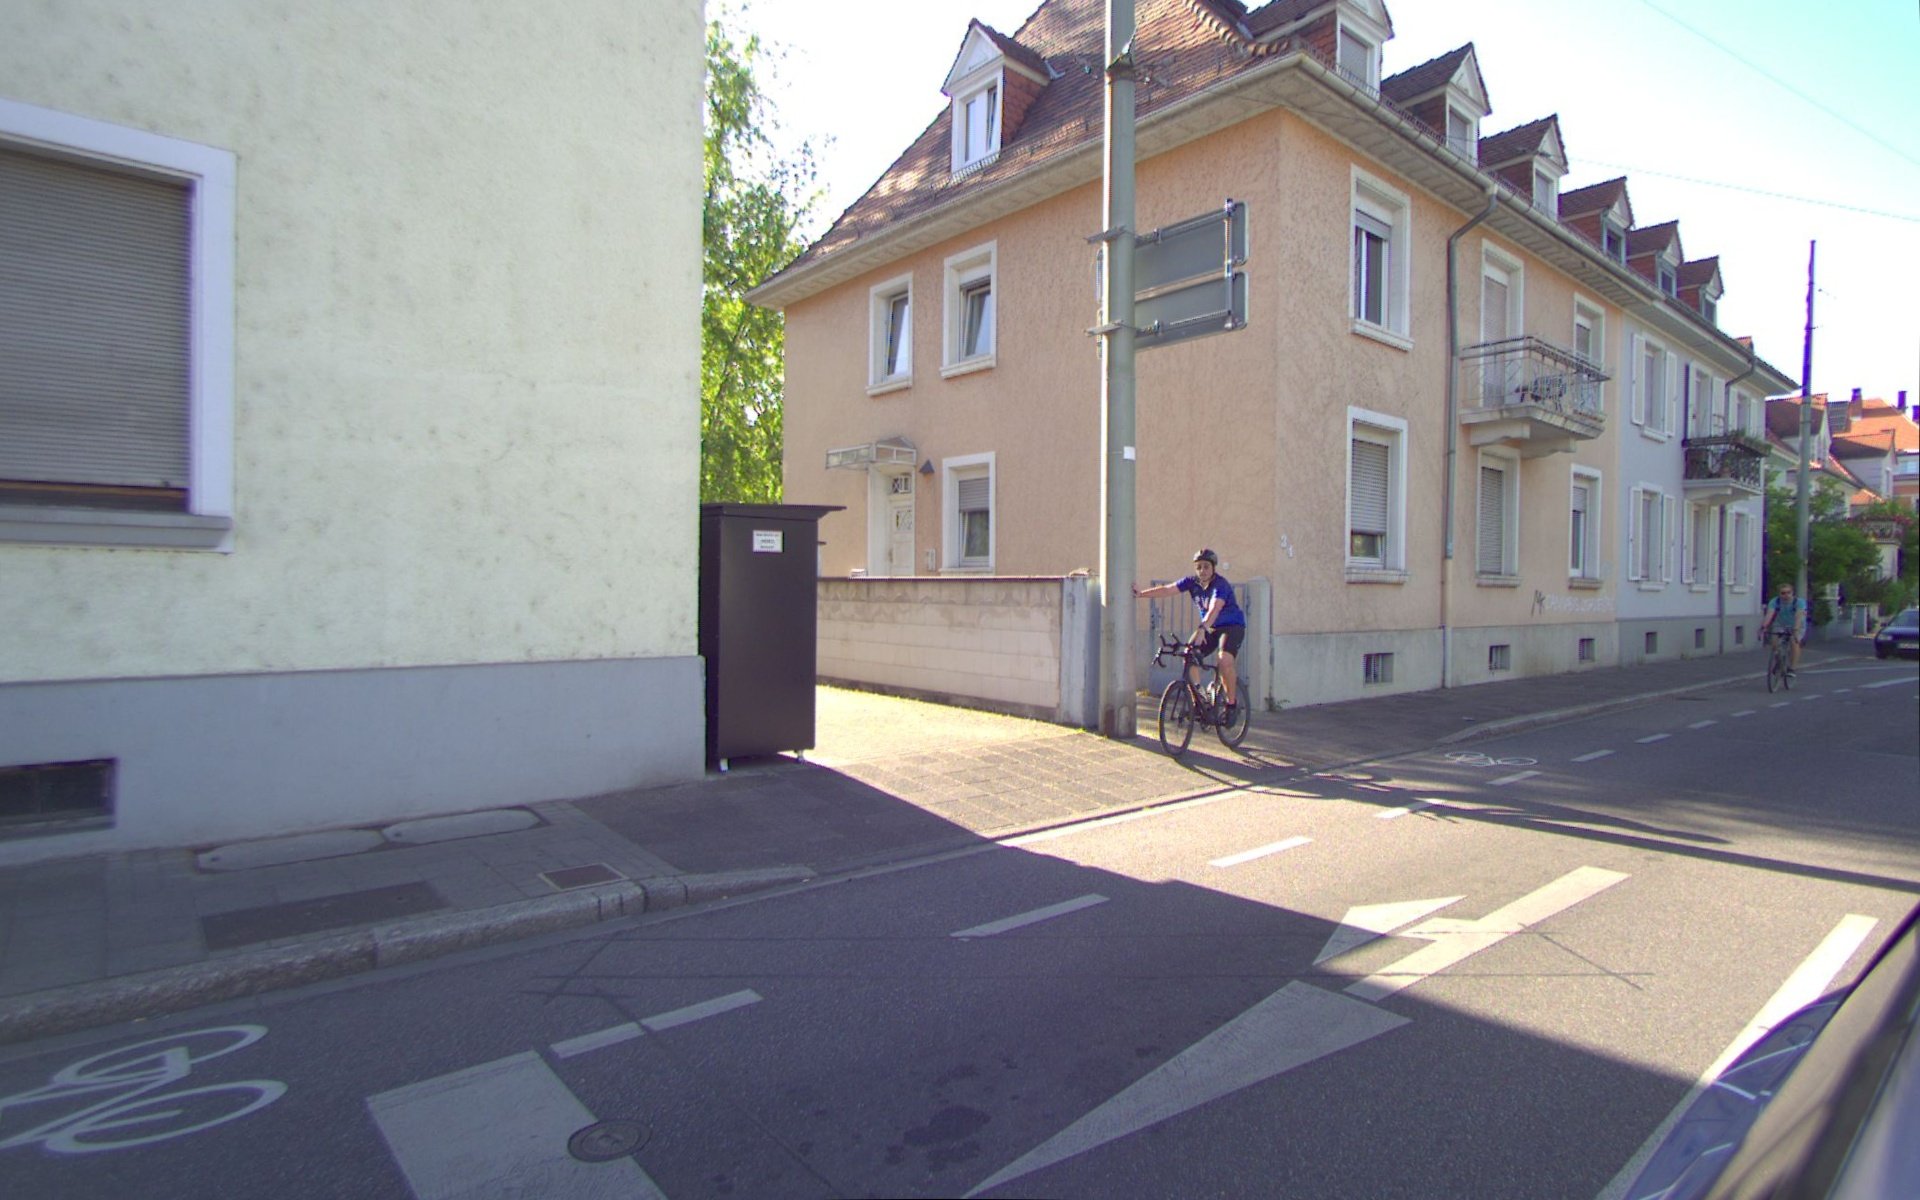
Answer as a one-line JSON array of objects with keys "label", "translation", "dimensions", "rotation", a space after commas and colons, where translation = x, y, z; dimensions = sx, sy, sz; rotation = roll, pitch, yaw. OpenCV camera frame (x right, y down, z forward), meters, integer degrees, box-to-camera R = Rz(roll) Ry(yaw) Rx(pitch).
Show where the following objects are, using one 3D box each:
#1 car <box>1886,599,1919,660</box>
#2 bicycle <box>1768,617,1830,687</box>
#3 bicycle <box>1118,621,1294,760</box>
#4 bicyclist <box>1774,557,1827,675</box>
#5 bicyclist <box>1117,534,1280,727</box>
[{"label": "car", "translation": [26.686, 0.759, 27.372], "dimensions": [3.742, 1.601, 1.696], "rotation": [0, -1, -36]}, {"label": "bicycle", "translation": [14.259, 0.878, 17.185], "dimensions": [1.764, 1.105, 0.519], "rotation": [3, -1, -41]}, {"label": "bicycle", "translation": [2.280, 0.778, 9.276], "dimensions": [1.744, 1.081, 0.592], "rotation": [0, 5, -41]}, {"label": "bicyclist", "translation": [14.289, 0.277, 17.204], "dimensions": [0.929, 1.959, 0.519], "rotation": [4, -2, -41]}, {"label": "bicyclist", "translation": [2.213, 0.245, 9.456], "dimensions": [0.870, 1.627, 1.052], "rotation": [1, 5, -41]}]
